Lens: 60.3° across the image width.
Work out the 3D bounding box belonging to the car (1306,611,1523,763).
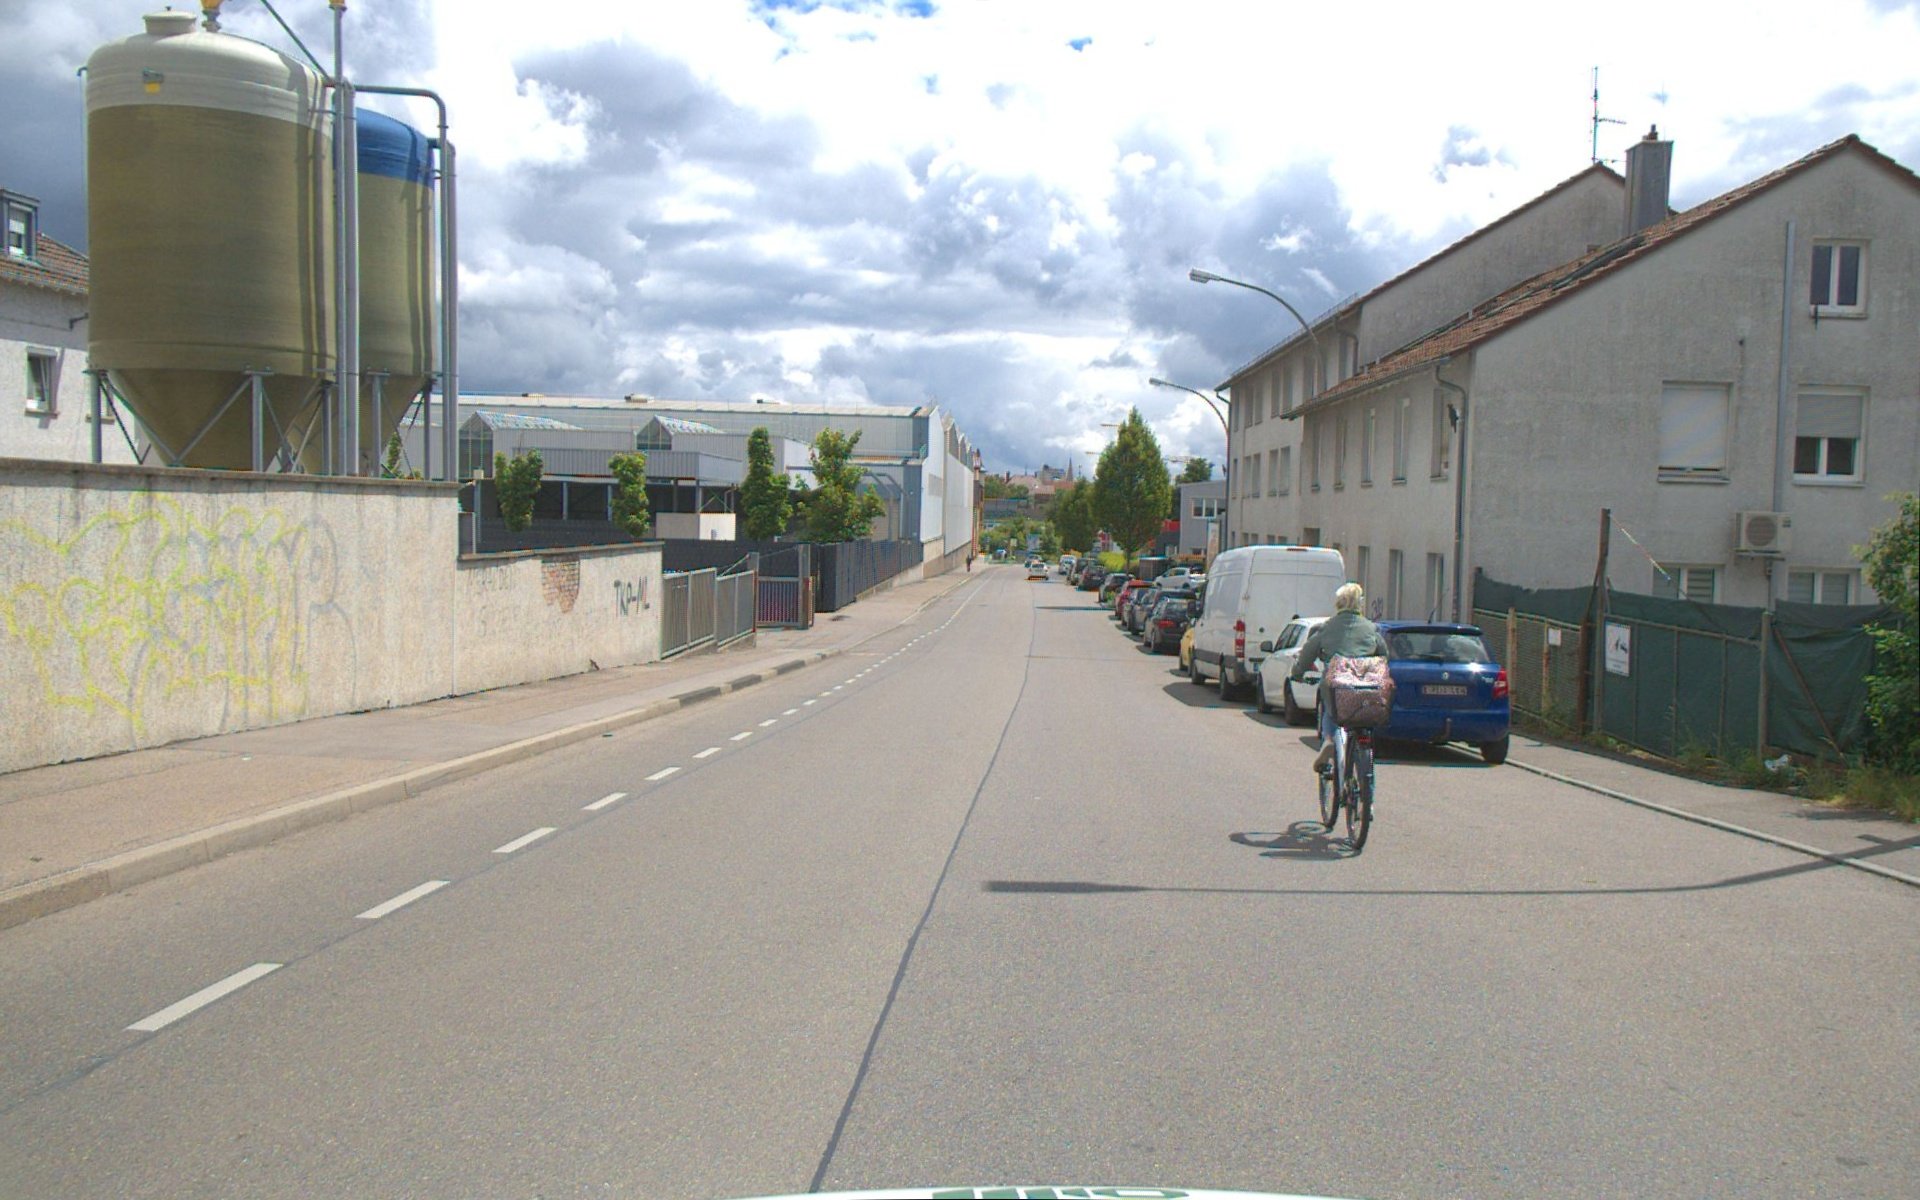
[{"bbox_3d":[5.241,0.931,19.558,1.534,1.536,4.095,1,0,2],"label":"car"}]

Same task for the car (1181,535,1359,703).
[{"bbox_3d":[5.531,0.309,30.549,1.991,2.687,7.284,1,0,1],"label":"car"}]

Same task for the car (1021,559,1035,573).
[{"bbox_3d":[8.466,-4.208,205.847,1.683,1.583,4.289,-2,0,2],"label":"car"}]

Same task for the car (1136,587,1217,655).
[{"bbox_3d":[6.096,0.551,46.998,1.669,1.536,5.089,3,3,1],"label":"car"}]

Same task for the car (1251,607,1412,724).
[{"bbox_3d":[5.398,0.907,24.464,1.560,1.536,3.790,1,0,1],"label":"car"}]

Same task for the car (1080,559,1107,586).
[{"bbox_3d":[8.646,-1.830,107.387,1.644,1.666,4.125,2,1,4],"label":"car"}]

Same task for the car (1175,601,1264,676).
[{"bbox_3d":[5.735,0.813,36.882,1.559,1.472,3.792,2,1,3],"label":"car"}]

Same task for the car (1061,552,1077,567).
[{"bbox_3d":[11.659,-4.353,176.993,1.665,1.554,3.740,2,2,4],"label":"car"}]

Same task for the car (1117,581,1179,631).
[{"bbox_3d":[6.571,0.180,58.157,1.699,1.448,4.862,2,3,1],"label":"car"}]

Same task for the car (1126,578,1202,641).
[{"bbox_3d":[6.419,0.247,52.571,1.643,1.666,4.796,3,3,-1],"label":"car"}]

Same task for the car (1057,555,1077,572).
[{"bbox_3d":[10.756,-3.707,166.498,1.667,1.553,3.738,4,2,-2],"label":"car"}]

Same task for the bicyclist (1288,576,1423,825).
[{"bbox_3d":[2.732,0.677,11.496,0.724,1.655,0.731,1,0,0],"label":"bicyclist"}]

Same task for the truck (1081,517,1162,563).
[{"bbox_3d":[17.613,-6.517,180.098,8.280,4.752,2.581,2,0,23],"label":"truck"}]

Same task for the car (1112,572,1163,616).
[{"bbox_3d":[6.918,-0.273,64.854,1.699,1.498,4.264,2,3,3],"label":"car"}]

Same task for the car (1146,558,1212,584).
[{"bbox_3d":[13.343,-1.766,100.869,1.706,1.488,4.023,-3,2,-36],"label":"car"}]

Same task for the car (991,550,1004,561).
[{"bbox_3d":[5.272,-6.286,233.894,1.814,1.512,4.001,2,0,2],"label":"car"}]

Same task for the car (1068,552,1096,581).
[{"bbox_3d":[9.025,-2.486,122.283,1.830,2.024,5.146,1,1,2],"label":"car"}]

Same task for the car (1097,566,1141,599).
[{"bbox_3d":[7.733,-0.890,80.756,1.754,1.491,4.709,1,1,1],"label":"car"}]

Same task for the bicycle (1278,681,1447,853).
[{"bbox_3d":[2.724,1.103,11.373,0.725,0.992,1.732,1,0,0],"label":"bicycle"}]

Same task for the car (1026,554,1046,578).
[{"bbox_3d":[6.291,-2.821,137.541,1.534,1.817,3.606,1,0,2],"label":"car"}]
